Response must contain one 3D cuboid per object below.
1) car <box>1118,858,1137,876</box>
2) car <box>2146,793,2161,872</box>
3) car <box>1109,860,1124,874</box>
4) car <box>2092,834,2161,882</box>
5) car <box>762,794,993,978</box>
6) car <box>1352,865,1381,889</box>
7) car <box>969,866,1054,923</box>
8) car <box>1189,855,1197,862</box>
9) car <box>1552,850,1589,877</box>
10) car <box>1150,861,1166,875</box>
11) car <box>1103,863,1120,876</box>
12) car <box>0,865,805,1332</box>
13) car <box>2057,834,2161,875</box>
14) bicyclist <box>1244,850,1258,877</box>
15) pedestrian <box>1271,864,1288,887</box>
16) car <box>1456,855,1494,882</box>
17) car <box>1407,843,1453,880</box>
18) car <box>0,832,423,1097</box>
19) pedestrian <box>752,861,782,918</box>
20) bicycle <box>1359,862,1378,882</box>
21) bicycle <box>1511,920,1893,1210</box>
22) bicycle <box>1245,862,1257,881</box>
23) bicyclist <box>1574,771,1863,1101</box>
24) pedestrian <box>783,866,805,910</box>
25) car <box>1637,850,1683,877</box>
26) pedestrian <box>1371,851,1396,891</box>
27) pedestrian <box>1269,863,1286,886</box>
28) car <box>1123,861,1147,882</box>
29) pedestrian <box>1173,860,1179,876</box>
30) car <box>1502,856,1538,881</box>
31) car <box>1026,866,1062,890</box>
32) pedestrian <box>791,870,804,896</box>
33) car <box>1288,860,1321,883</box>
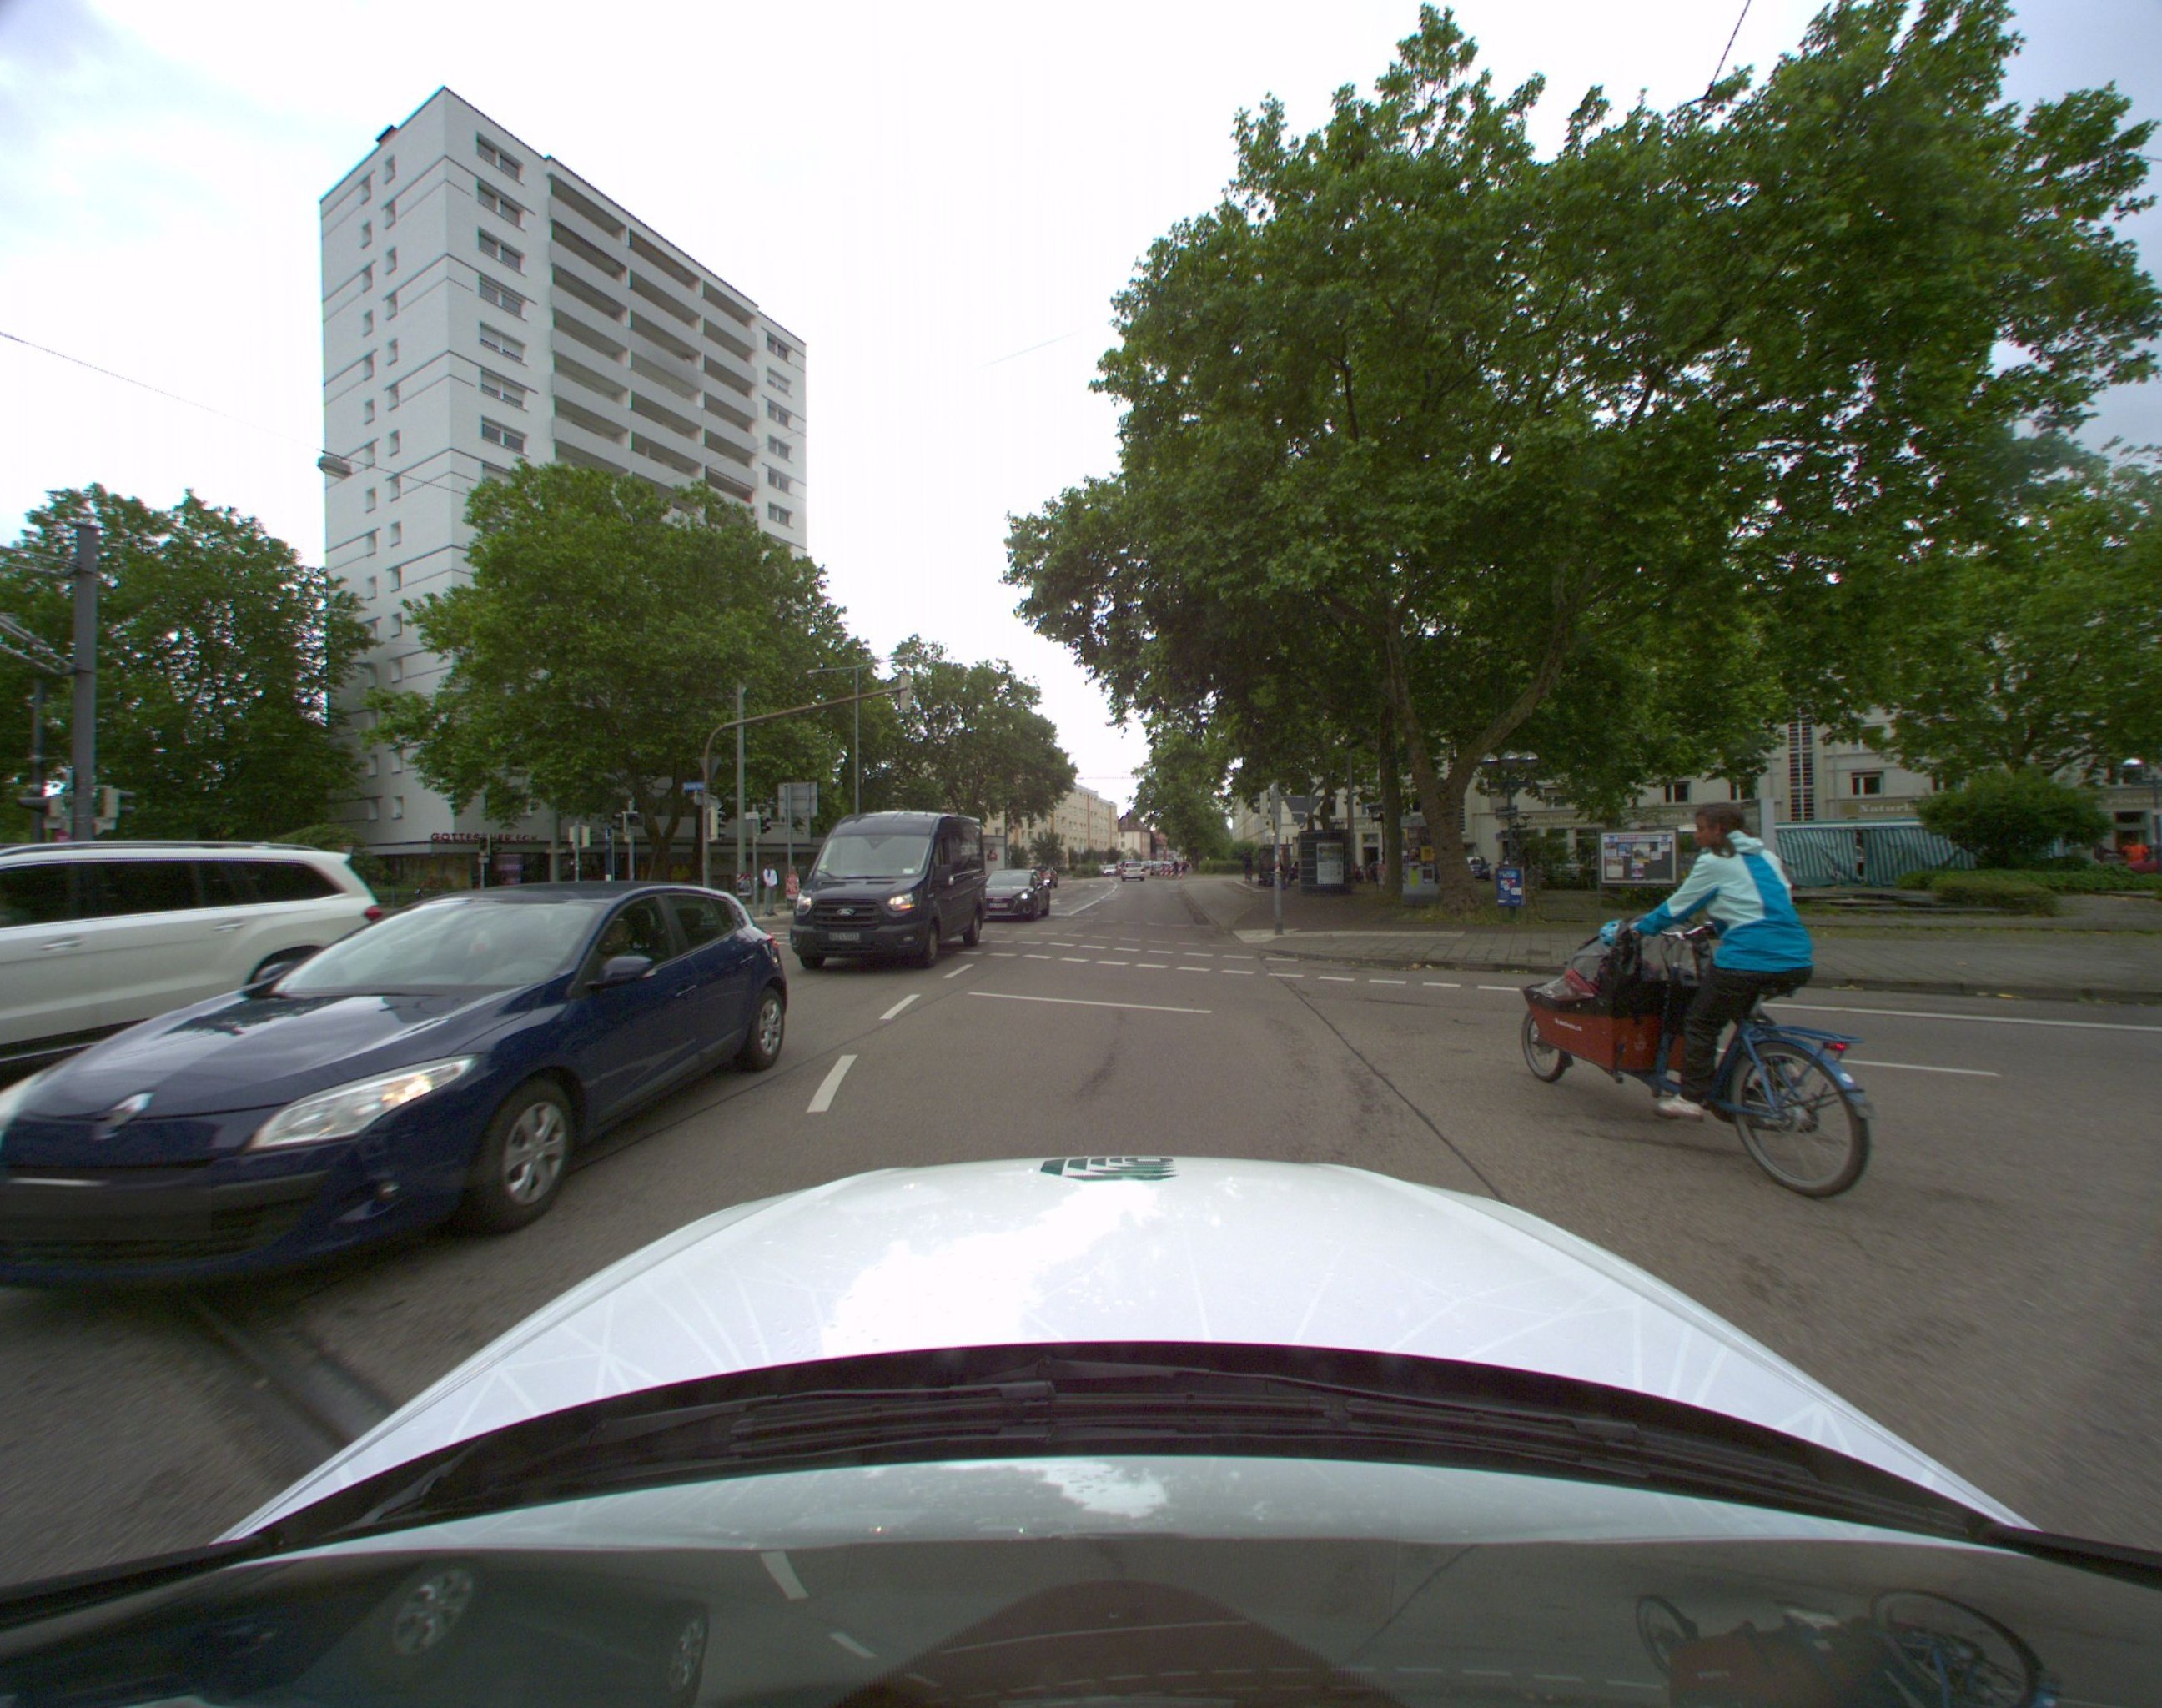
[{"bbox_3d":[5.110,1.389,88.781,1.985,1.848,4.004,-1,0,4],"label":"car"},{"bbox_3d":[36.900,-0.736,24.953,2.219,2.639,5.468,-1,0,14],"label":"car"},{"bbox_3d":[5.083,1.863,115.513,1.758,1.912,4.007,-1,-1,6],"label":"car"},{"bbox_3d":[33.313,0.097,24.603,1.715,1.399,4.321,-1,0,25],"label":"car"},{"bbox_3d":[-3.065,0.445,13.826,2.124,2.451,5.585,-1,0,4],"label":"car"},{"bbox_3d":[18.847,1.508,53.603,1.501,1.428,4.022,-2,-1,23],"label":"car"},{"bbox_3d":[-1.915,1.114,23.765,1.801,1.427,4.321,-1,0,4],"label":"car"},{"bbox_3d":[30.957,1.290,225.062,1.985,2.014,4.004,-1,-1,4],"label":"car"},{"bbox_3d":[29.206,0.560,48.584,1.779,1.516,3.851,-2,-1,31],"label":"car"},{"bbox_3d":[9.072,1.673,96.355,1.806,1.592,4.006,-1,0,5],"label":"car"},{"bbox_3d":[3.861,1.921,103.029,1.758,1.486,4.007,-1,-1,6],"label":"car"},{"bbox_3d":[-3.133,0.847,4.668,1.660,1.489,3.905,-1,0,1],"label":"car"},{"bbox_3d":[40.693,0.012,31.660,3.231,1.518,1.581,-1,0,13],"label":"car"},{"bbox_3d":[11.251,0.640,53.999,0.757,1.759,0.820,-1,-1,1],"label":"bicyclist"},{"bbox_3d":[11.669,1.248,47.951,0.849,1.314,0.764,-1,-1,5],"label":"pedestrian"},{"bbox_3d":[24.542,0.890,50.693,1.779,1.543,3.851,-2,-1,31],"label":"car"},{"bbox_3d":[22.006,0.446,51.272,2.153,2.200,4.025,-2,-1,30],"label":"car"},{"bbox_3d":[-8.314,0.783,6.242,1.857,1.826,5.236,-1,0,7],"label":"car"},{"bbox_3d":[-10.012,1.114,26.012,0.696,1.785,0.508,-1,-1,12],"label":"pedestrian"},{"bbox_3d":[17.464,1.089,49.444,0.616,1.168,2.347,-2,-1,30],"label":"bicycle"},{"bbox_3d":[3.214,0.986,4.549,0.492,1.098,2.139,-1,-2,1],"label":"bicycle"},{"bbox_3d":[11.219,1.163,53.844,0.416,1.242,1.928,-1,-1,2],"label":"bicycle"},{"bbox_3d":[3.284,0.381,4.319,0.683,1.518,1.058,-1,0,1],"label":"bicyclist"},{"bbox_3d":[-11.989,1.411,34.046,0.570,1.785,0.622,-1,-1,13],"label":"pedestrian"},{"bbox_3d":[32.924,0.535,46.374,1.779,1.440,3.851,-2,-1,31],"label":"car"},{"bbox_3d":[13.486,0.730,36.288,0.780,1.744,0.926,-1,-1,4],"label":"pedestrian"},{"bbox_3d":[11.788,1.210,48.887,0.814,1.372,0.764,-1,-1,5],"label":"pedestrian"},{"bbox_3d":[4.560,1.442,68.560,1.806,1.592,4.006,-1,0,5],"label":"car"},{"bbox_3d":[9.767,1.425,83.345,0.548,1.684,0.570,-1,-1,4],"label":"pedestrian"},{"bbox_3d":[27.186,0.886,50.417,1.779,1.440,3.851,-2,-1,31],"label":"car"},{"bbox_3d":[-2.419,1.573,54.239,1.844,1.453,4.174,-1,0,5],"label":"car"},{"bbox_3d":[-16.905,1.721,48.540,0.416,1.545,0.626,-2,-1,28],"label":"pedestrian"},{"bbox_3d":[14.864,1.133,54.093,1.501,1.428,4.022,-2,-1,23],"label":"car"}]
